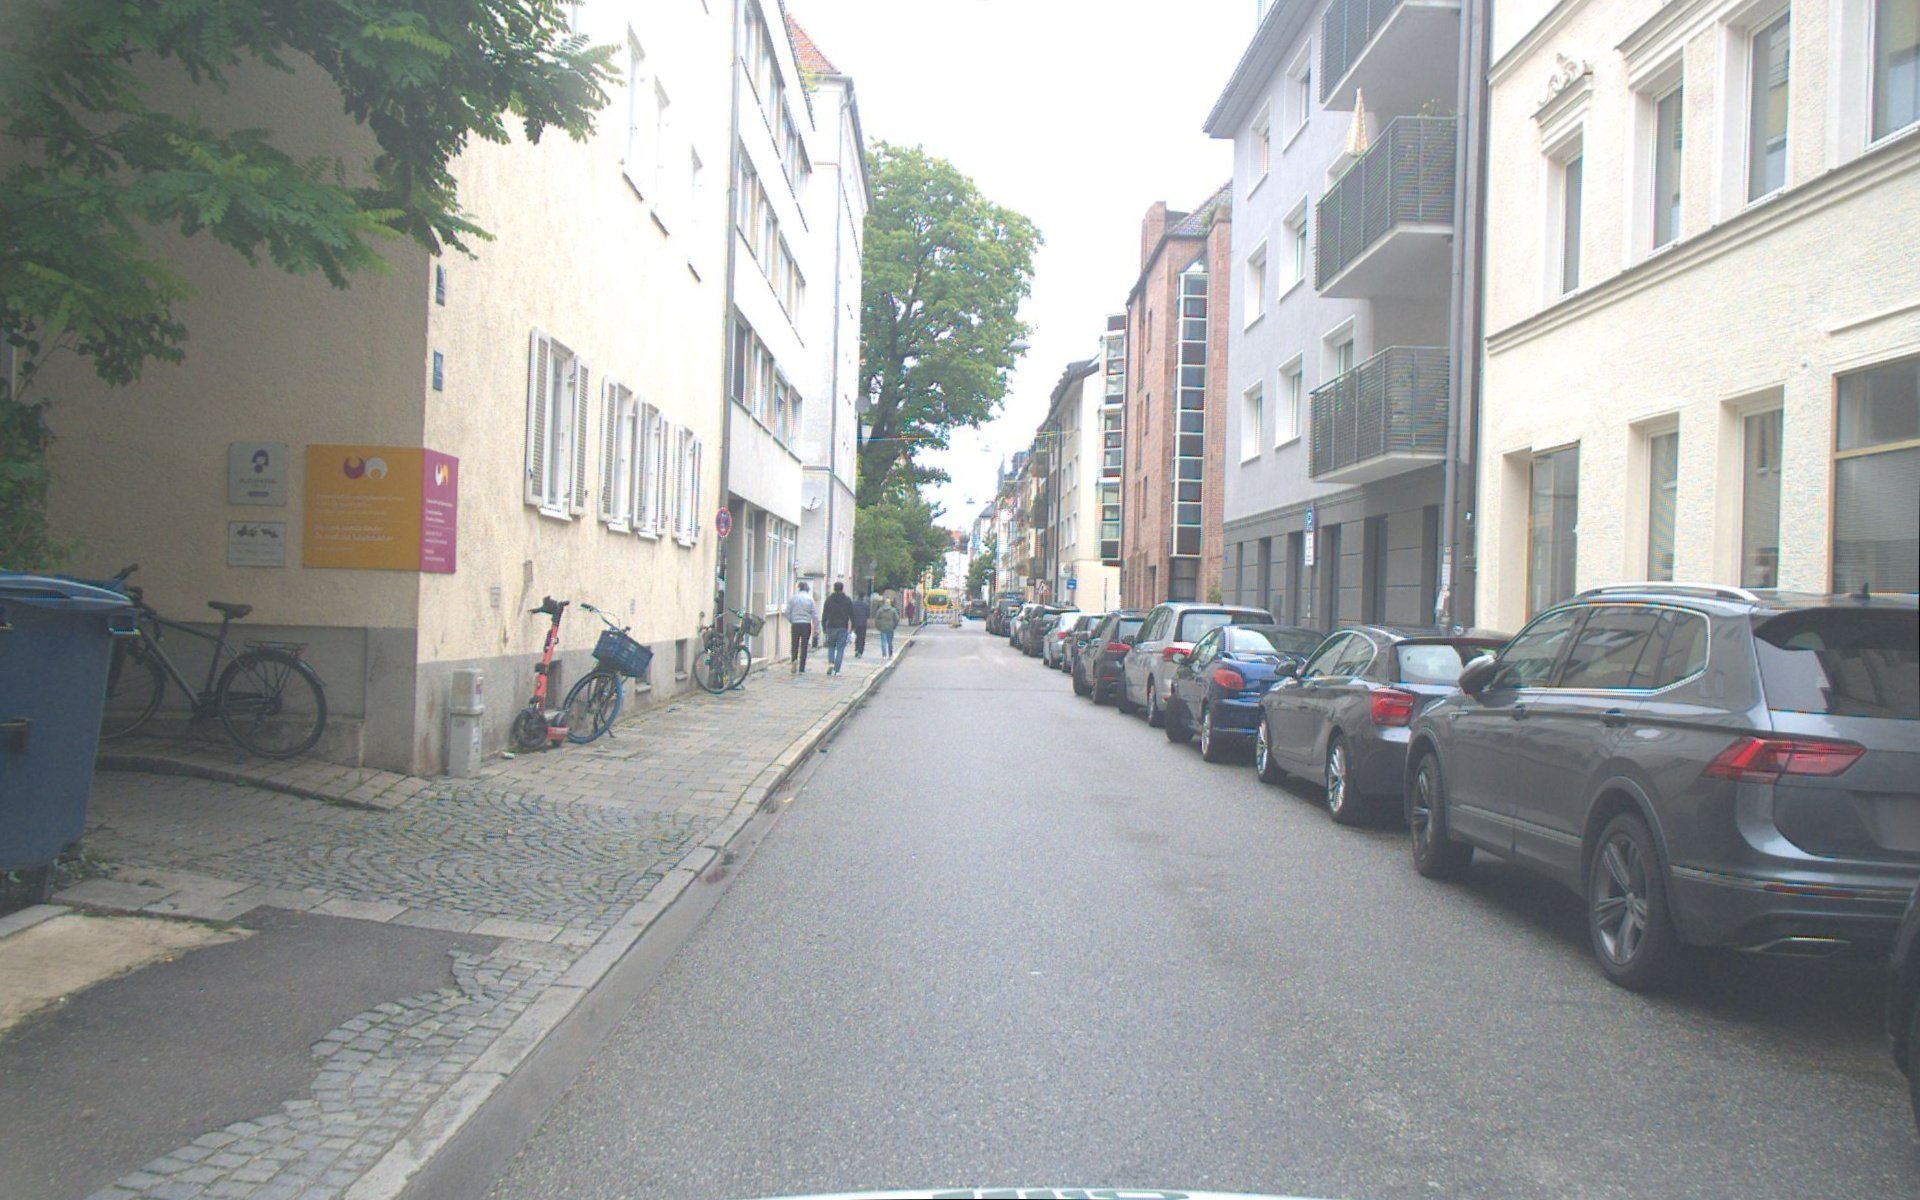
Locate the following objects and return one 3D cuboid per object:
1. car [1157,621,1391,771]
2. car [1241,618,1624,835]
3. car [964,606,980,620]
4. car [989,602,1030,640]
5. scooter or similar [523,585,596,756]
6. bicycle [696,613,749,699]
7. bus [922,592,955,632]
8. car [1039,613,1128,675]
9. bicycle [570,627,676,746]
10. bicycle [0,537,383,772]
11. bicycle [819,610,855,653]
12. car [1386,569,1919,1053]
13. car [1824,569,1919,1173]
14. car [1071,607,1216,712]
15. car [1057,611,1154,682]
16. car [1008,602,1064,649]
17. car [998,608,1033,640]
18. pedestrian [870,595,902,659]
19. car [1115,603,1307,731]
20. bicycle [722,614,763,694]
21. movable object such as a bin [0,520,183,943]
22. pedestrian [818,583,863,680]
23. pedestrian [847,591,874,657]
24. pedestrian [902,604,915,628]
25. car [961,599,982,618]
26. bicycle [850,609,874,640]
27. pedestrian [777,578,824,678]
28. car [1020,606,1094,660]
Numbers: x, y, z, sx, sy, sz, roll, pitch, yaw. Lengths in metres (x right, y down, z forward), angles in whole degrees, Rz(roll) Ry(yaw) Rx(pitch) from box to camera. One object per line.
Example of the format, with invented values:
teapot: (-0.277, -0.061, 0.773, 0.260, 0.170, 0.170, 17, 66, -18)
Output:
car: (3.261, 0.947, 17.892, 1.771, 1.387, 3.945, 1, 0, 0)
car: (3.570, 0.880, 13.360, 1.763, 1.410, 4.348, 1, 0, -1)
car: (1.399, 1.538, 195.098, 1.764, 1.642, 3.999, 2, 0, 0)
car: (2.638, 1.116, 89.036, 1.766, 1.851, 3.998, 5, 0, -3)
scooter or similar: (-3.411, 0.583, 14.154, 0.311, 1.400, 1.239, 1, -1, -1)
bicycle: (-3.431, 0.799, 24.026, 0.448, 1.179, 1.605, 4, -1, 0)
bus: (-1.709, 0.962, 134.863, 2.540, 3.156, 6.305, 1, -1, 0)
car: (3.132, 1.091, 42.711, 1.799, 1.442, 4.599, 2, 0, -2)
bicycle: (-3.207, 0.798, 15.887, 0.690, 1.001, 1.821, 6, -1, -5)
bicycle: (-4.944, 0.343, 10.673, 2.156, 1.321, 0.514, 4, -1, -1)
bicycle: (-3.639, 0.924, 48.702, 0.631, 1.239, 1.655, 1, -1, -19)
car: (3.537, 0.769, 8.115, 1.642, 1.690, 4.512, 2, 0, -1)
car: (3.478, 0.756, 2.646, 1.667, 1.635, 4.684, 2, 0, -1)
car: (2.977, 0.930, 27.693, 1.802, 1.555, 4.291, 2, 0, -2)
car: (3.301, 1.027, 38.114, 1.710, 1.487, 4.149, 2, 0, -2)
car: (2.853, 0.944, 62.872, 1.713, 1.658, 4.194, 1, 0, -3)
car: (2.840, 1.196, 84.678, 1.591, 1.513, 3.808, 2, 0, 0)
pedestrian: (-2.007, 0.737, 45.111, 0.738, 1.688, 0.906, 4, -1, -1)
car: (3.340, 0.850, 22.814, 1.838, 1.598, 4.314, 0, 0, -2)
bicycle: (-3.372, 0.822, 25.742, 0.551, 1.180, 1.718, 2, -1, -6)
movable object such as a bin: (-3.911, 0.431, 6.261, 1.150, 1.466, 1.249, 7, 1, 5)
pedestrian: (-2.279, 0.597, 31.603, 0.704, 1.796, 0.838, 3, -1, 0)
pedestrian: (-2.693, 0.660, 44.935, 0.600, 1.743, 0.823, 4, -1, -1)
pedestrian: (-3.222, 1.008, 103.930, 0.740, 1.517, 0.831, 1, -1, 0)
car: (1.160, 0.852, 166.794, 1.765, 1.741, 3.825, 5, 0, -2)
bicycle: (-3.773, 0.948, 63.310, 0.465, 1.130, 1.751, 2, 0, -18)
pedestrian: (-3.011, 0.523, 31.391, 0.704, 1.828, 0.916, 3, -1, 0)
car: (3.041, 1.014, 52.558, 1.848, 1.582, 4.389, 2, 0, -3)
